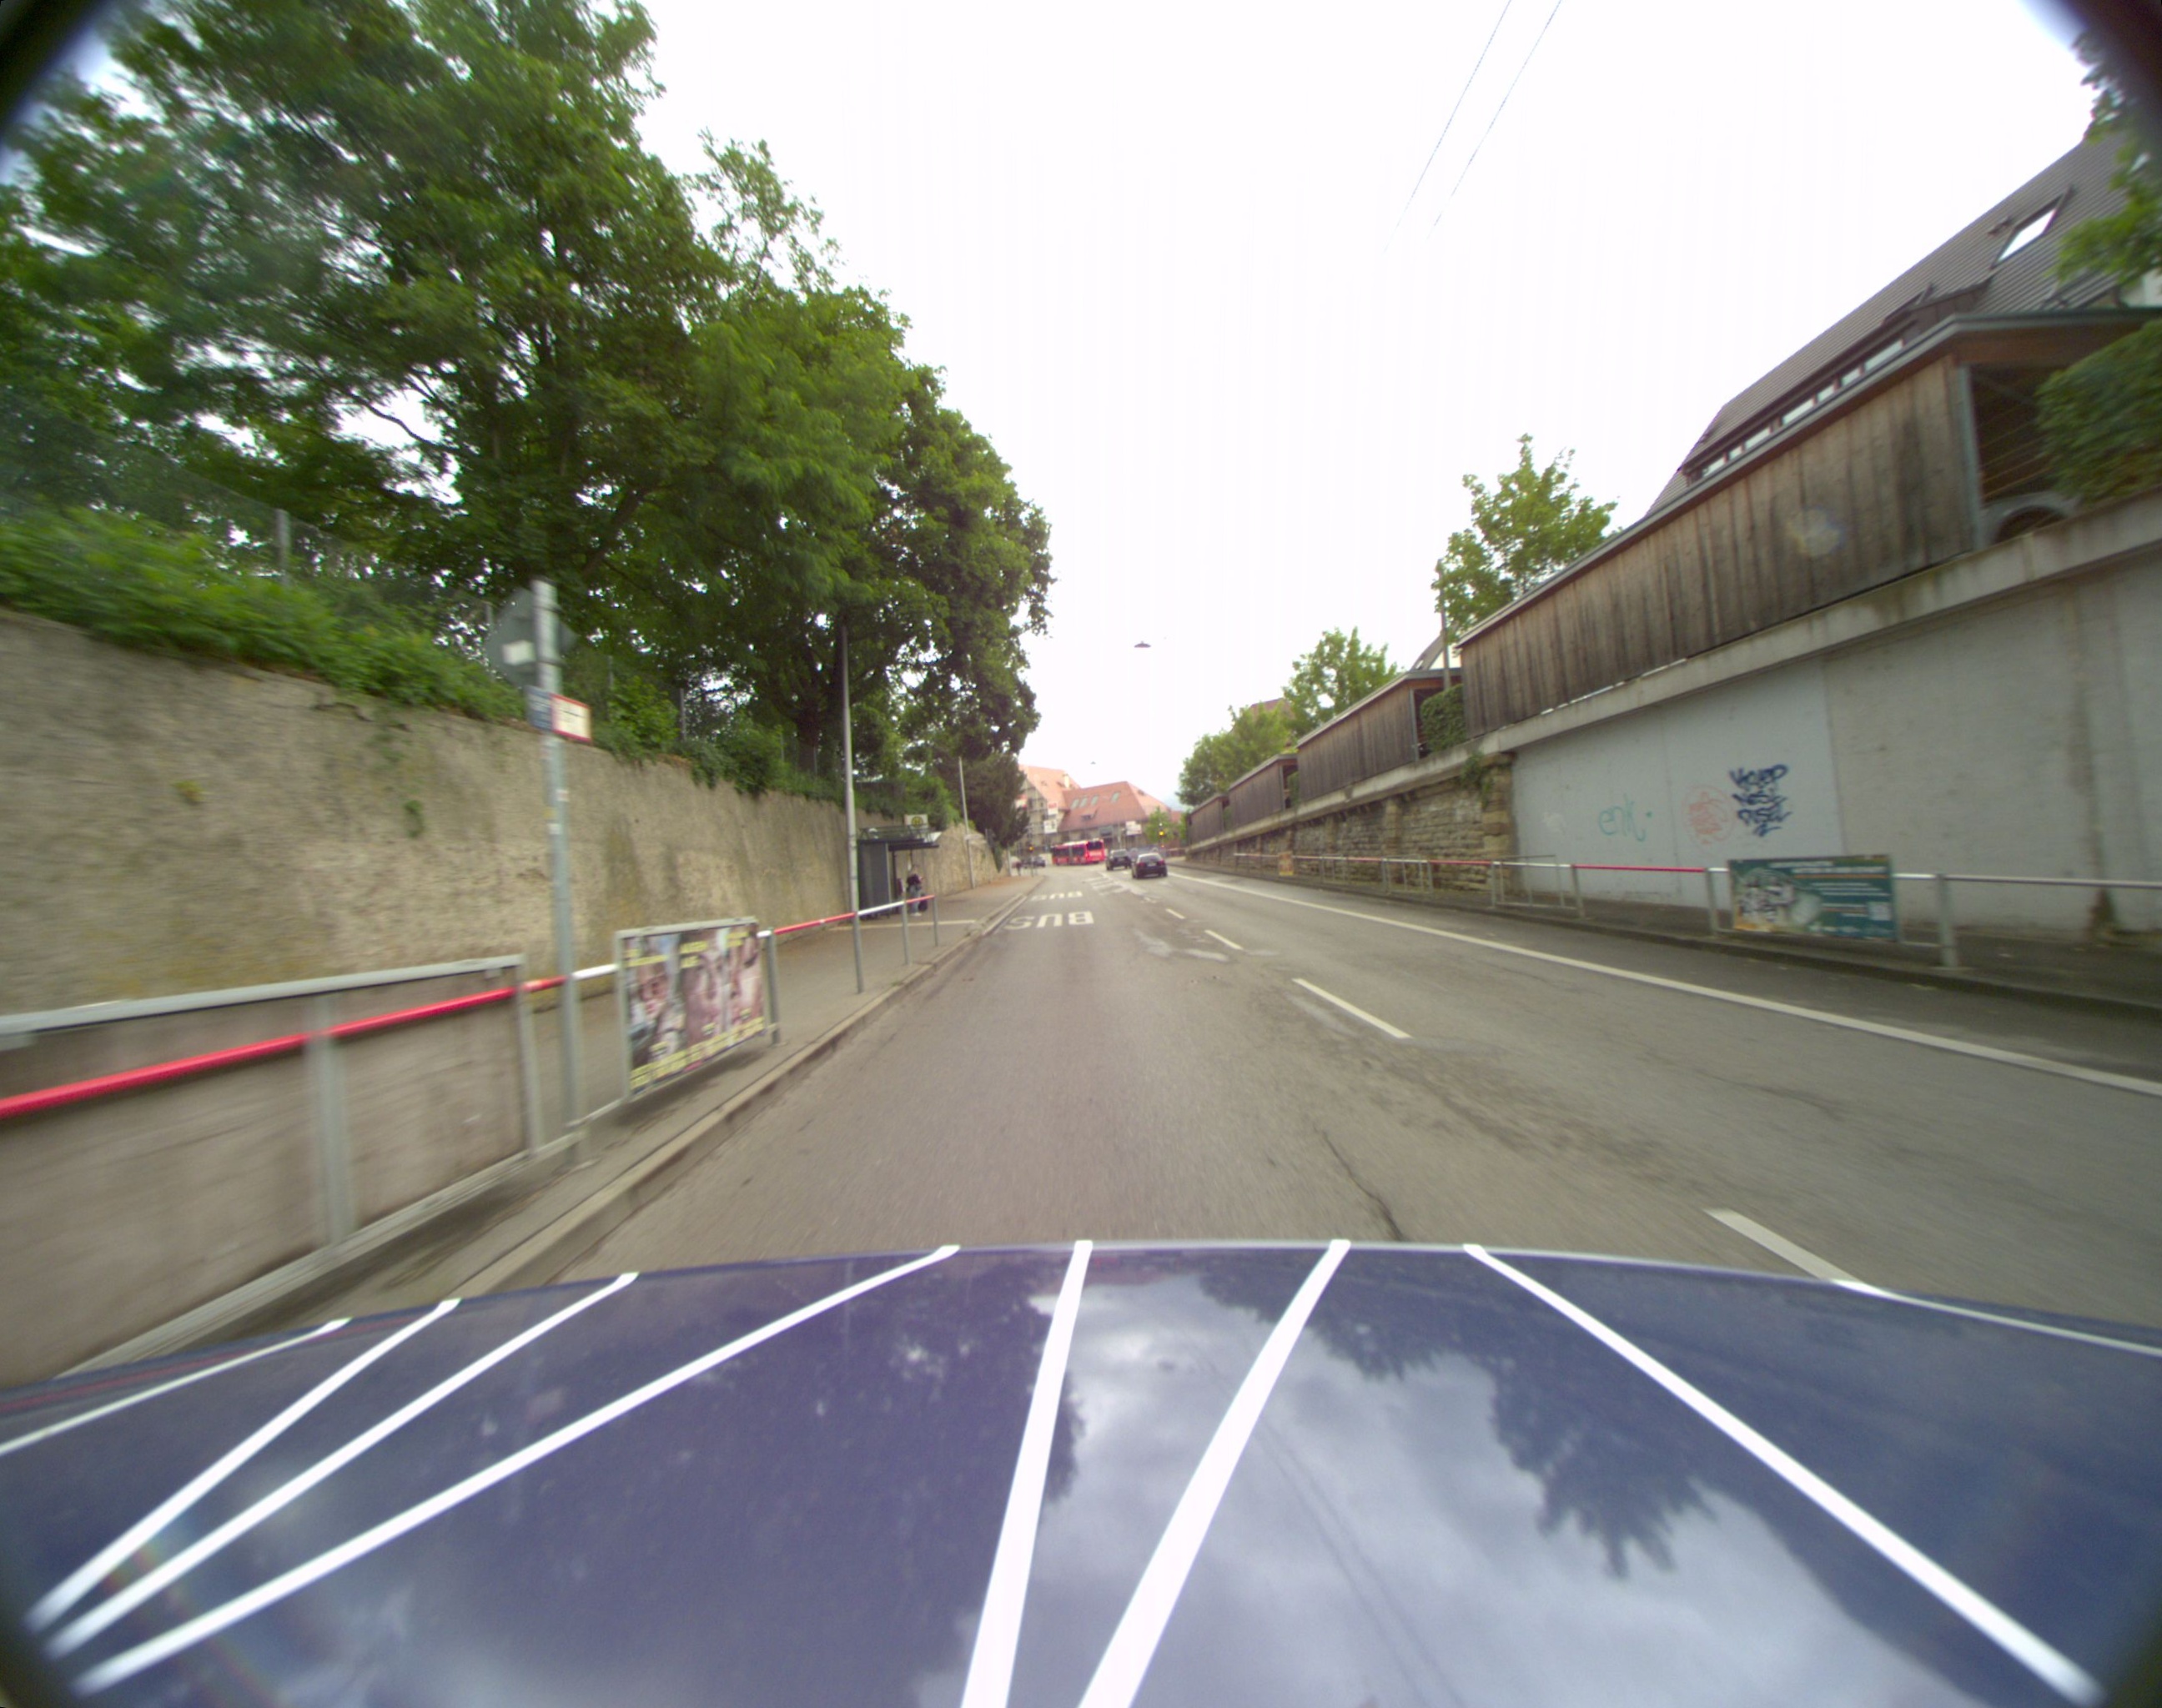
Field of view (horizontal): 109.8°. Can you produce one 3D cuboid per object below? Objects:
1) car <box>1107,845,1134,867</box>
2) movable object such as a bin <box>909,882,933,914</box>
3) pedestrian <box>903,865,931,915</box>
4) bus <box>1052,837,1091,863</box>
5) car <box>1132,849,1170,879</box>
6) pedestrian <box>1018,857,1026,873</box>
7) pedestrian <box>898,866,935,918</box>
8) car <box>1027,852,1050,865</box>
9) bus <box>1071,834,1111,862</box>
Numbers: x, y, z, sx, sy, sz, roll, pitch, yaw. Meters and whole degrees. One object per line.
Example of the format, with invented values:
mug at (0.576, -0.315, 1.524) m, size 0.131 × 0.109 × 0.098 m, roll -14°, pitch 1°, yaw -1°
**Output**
car at (3.431, 0.144, 66.808) m, size 1.899 × 1.746 × 4.436 m, roll -4°, pitch 1°, yaw -1°
movable object such as a bin at (-5.559, 1.521, 26.430) m, size 0.676 × 1.014 × 0.626 m, roll -4°, pitch 0°, yaw -6°
pedestrian at (-5.551, 1.212, 25.758) m, size 0.723 × 1.633 × 0.630 m, roll -4°, pitch 1°, yaw -5°
bus at (-1.426, -0.470, 109.218) m, size 2.667 × 3.104 × 10.006 m, roll -7°, pitch 1°, yaw -17°
car at (4.082, 0.539, 44.740) m, size 1.739 × 1.524 × 3.999 m, roll -4°, pitch 1°, yaw 0°
pedestrian at (-6.098, 1.134, 78.404) m, size 0.733 × 1.567 × 0.743 m, roll -3°, pitch 0°, yaw -4°
pedestrian at (-5.113, 1.176, 23.626) m, size 0.735 × 1.578 × 0.775 m, roll -3°, pitch 0°, yaw 41°
car at (-6.196, 0.634, 109.647) m, size 1.929 × 1.621 × 4.515 m, roll -8°, pitch 2°, yaw -21°
bus at (1.165, -0.697, 100.443) m, size 2.667 × 3.104 × 8.282 m, roll -7°, pitch 1°, yaw -16°
